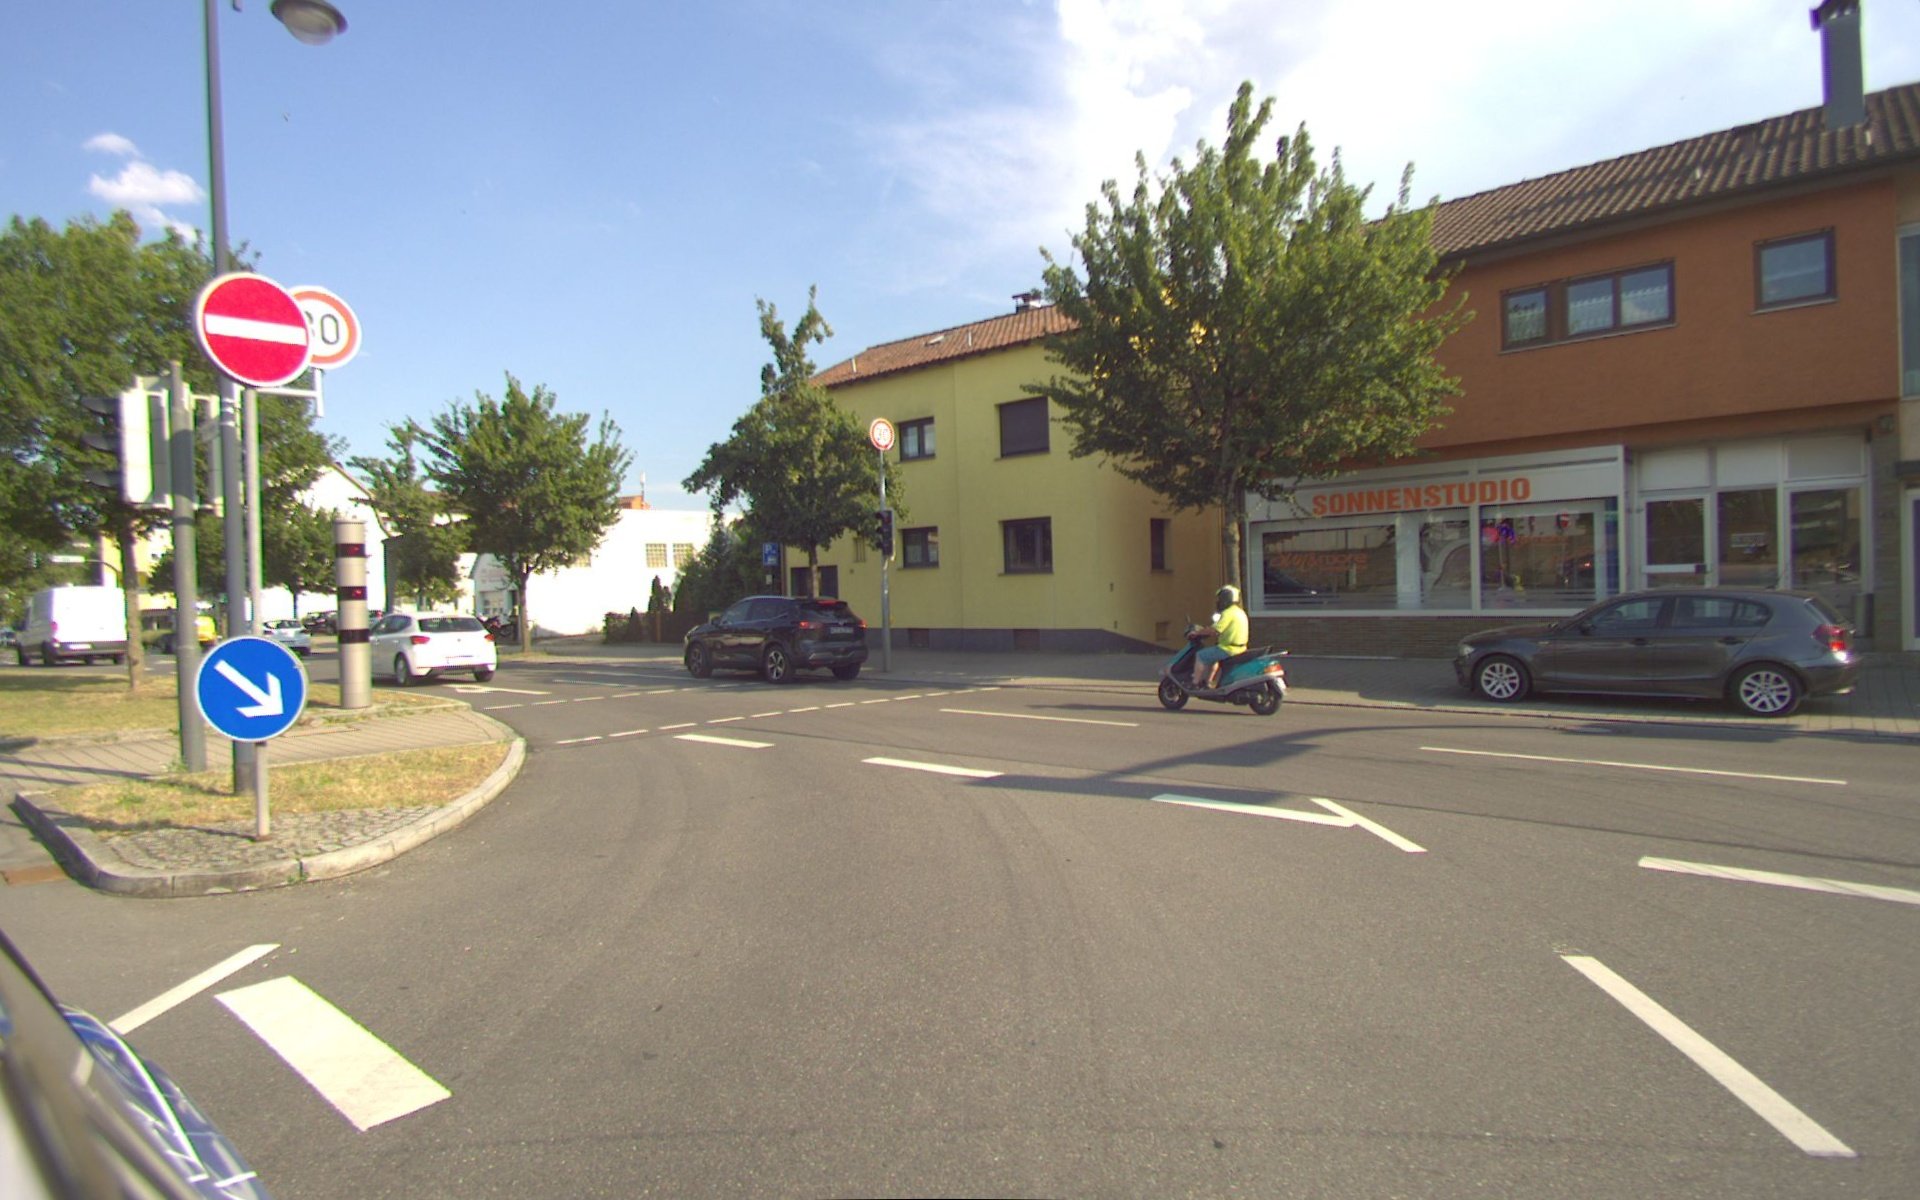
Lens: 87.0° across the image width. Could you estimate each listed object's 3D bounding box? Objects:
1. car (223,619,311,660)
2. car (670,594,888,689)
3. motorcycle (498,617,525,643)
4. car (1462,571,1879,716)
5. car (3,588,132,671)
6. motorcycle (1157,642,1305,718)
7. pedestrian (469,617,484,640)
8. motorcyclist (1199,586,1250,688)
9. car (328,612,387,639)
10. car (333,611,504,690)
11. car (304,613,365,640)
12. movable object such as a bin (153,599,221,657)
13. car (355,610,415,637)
[{"bbox_3d":[-25.954,1.466,37.850,4.211,1.424,1.674,-2,-1,40],"label":"car"},{"bbox_3d":[-3.602,0.757,19.595,4.460,1.607,1.834,-2,-1,43],"label":"car"},{"bbox_3d":[-19.705,1.313,44.491,0.542,1.107,2.052,-2,-1,-10],"label":"motorcycle"},{"bbox_3d":[8.523,0.464,12.356,3.940,1.424,1.777,-1,2,42],"label":"car"},{"bbox_3d":[-29.308,0.948,33.183,5.469,2.494,2.066,-2,-1,37],"label":"car"},{"bbox_3d":[3.340,0.970,12.581,1.761,0.867,0.408,-2,-1,40],"label":"motorcycle"},{"bbox_3d":[-28.235,1.651,59.092,0.583,1.350,0.589,-2,-1,33],"label":"pedestrian"},{"bbox_3d":[3.298,0.449,12.615,0.461,1.238,0.399,-2,-1,38],"label":"motorcyclist"},{"bbox_3d":[-37.698,1.561,63.421,1.566,1.576,3.430,-1,0,2],"label":"car"},{"bbox_3d":[-11.070,0.987,20.584,3.997,1.422,1.739,-2,-1,40],"label":"car"},{"bbox_3d":[-39.962,1.693,64.737,1.835,1.638,3.410,-1,-1,-1],"label":"car"},{"bbox_3d":[-34.512,1.235,45.130,4.977,2.480,1.536,-1,-1,42],"label":"movable object such as a bin"},{"bbox_3d":[-34.993,1.403,61.679,1.599,1.555,3.429,-1,-1,2],"label":"car"}]
